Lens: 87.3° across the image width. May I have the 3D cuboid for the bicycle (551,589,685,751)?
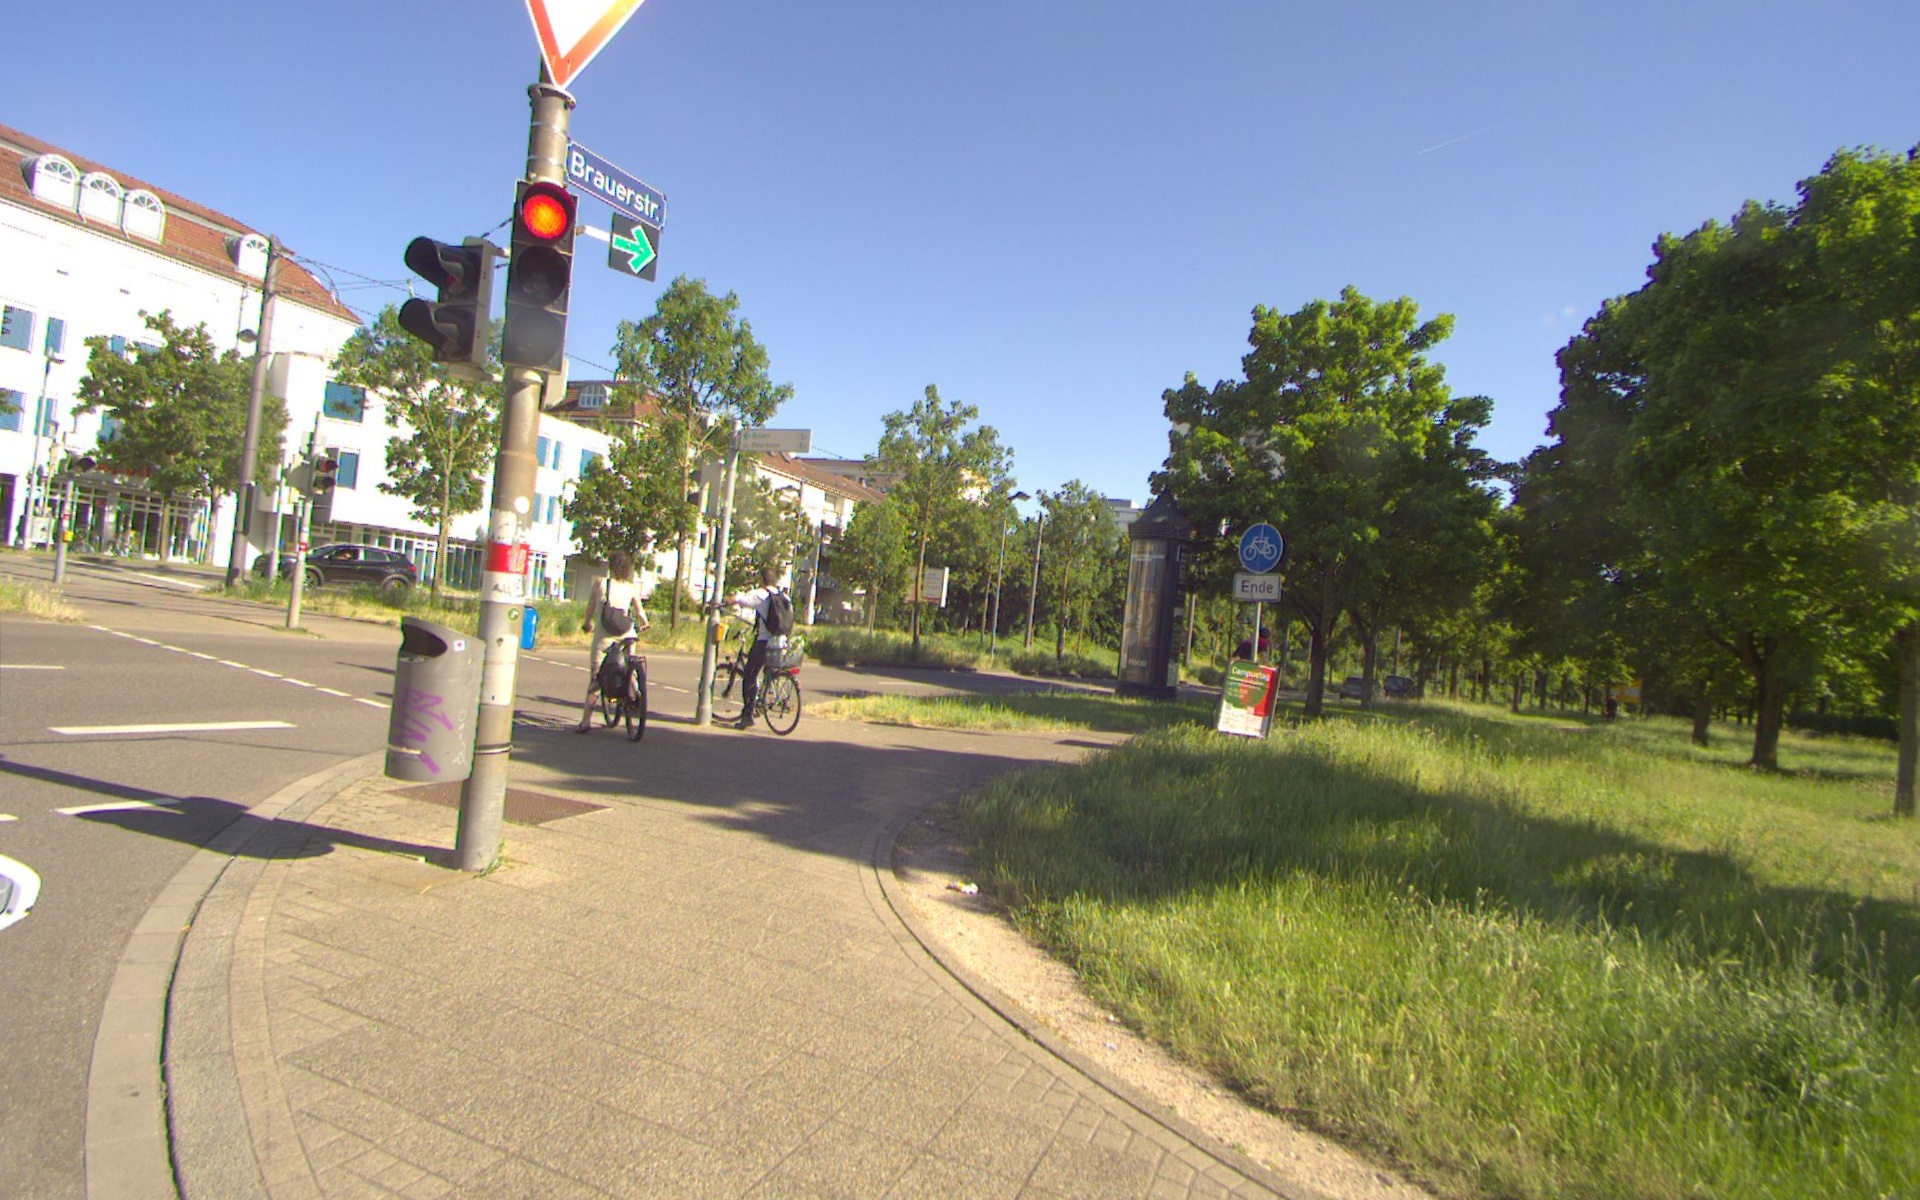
[{"bbox_3d":[-3.420,0.633,9.913,0.784,1.364,2.064,6,-1,-29],"label":"bicycle"}]

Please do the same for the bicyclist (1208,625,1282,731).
[{"bbox_3d":[4.583,1.258,16.163,0.663,1.605,1.001,6,0,39],"label":"bicyclist"}]

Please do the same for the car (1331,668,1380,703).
[{"bbox_3d":[22.652,4.903,57.558,1.667,1.594,3.866,5,-5,35],"label":"car"}]

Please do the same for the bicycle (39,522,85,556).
[{"bbox_3d":[-36.715,-2.487,41.140,1.835,1.197,0.562,6,0,22],"label":"bicycle"}]

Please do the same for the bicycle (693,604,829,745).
[{"bbox_3d":[-2.350,0.810,11.613,0.784,1.364,2.247,6,-1,-29],"label":"bicycle"}]

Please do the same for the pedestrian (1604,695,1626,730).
[{"bbox_3d":[34.938,5.985,53.685,0.726,1.747,0.888,6,0,27],"label":"pedestrian"}]

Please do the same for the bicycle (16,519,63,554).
[{"bbox_3d":[-36.785,-2.523,40.190,1.835,1.197,0.562,6,0,22],"label":"bicycle"}]

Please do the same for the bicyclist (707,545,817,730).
[{"bbox_3d":[-2.288,0.415,11.573,0.784,1.983,1.004,6,0,-29],"label":"bicyclist"}]

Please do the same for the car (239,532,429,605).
[{"bbox_3d":[-19.250,-0.922,31.135,1.967,1.628,4.507,6,-2,32],"label":"car"}]

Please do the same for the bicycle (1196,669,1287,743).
[{"bbox_3d":[4.549,1.704,16.176,0.663,1.068,1.805,6,-1,39],"label":"bicycle"}]

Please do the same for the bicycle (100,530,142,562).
[{"bbox_3d":[-35.619,-2.289,42.709,1.836,1.197,0.562,6,0,25],"label":"bicycle"}]

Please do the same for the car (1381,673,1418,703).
[{"bbox_3d":[33.239,6.643,76.042,1.737,1.819,4.492,5,-5,34],"label":"car"}]

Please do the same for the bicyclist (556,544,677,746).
[{"bbox_3d":[-3.424,0.427,9.964,0.784,1.846,1.127,6,0,-29],"label":"bicyclist"}]

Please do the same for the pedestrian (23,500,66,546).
[{"bbox_3d":[-37.947,-3.191,41.704,0.642,1.744,0.993,6,-1,22],"label":"pedestrian"}]
